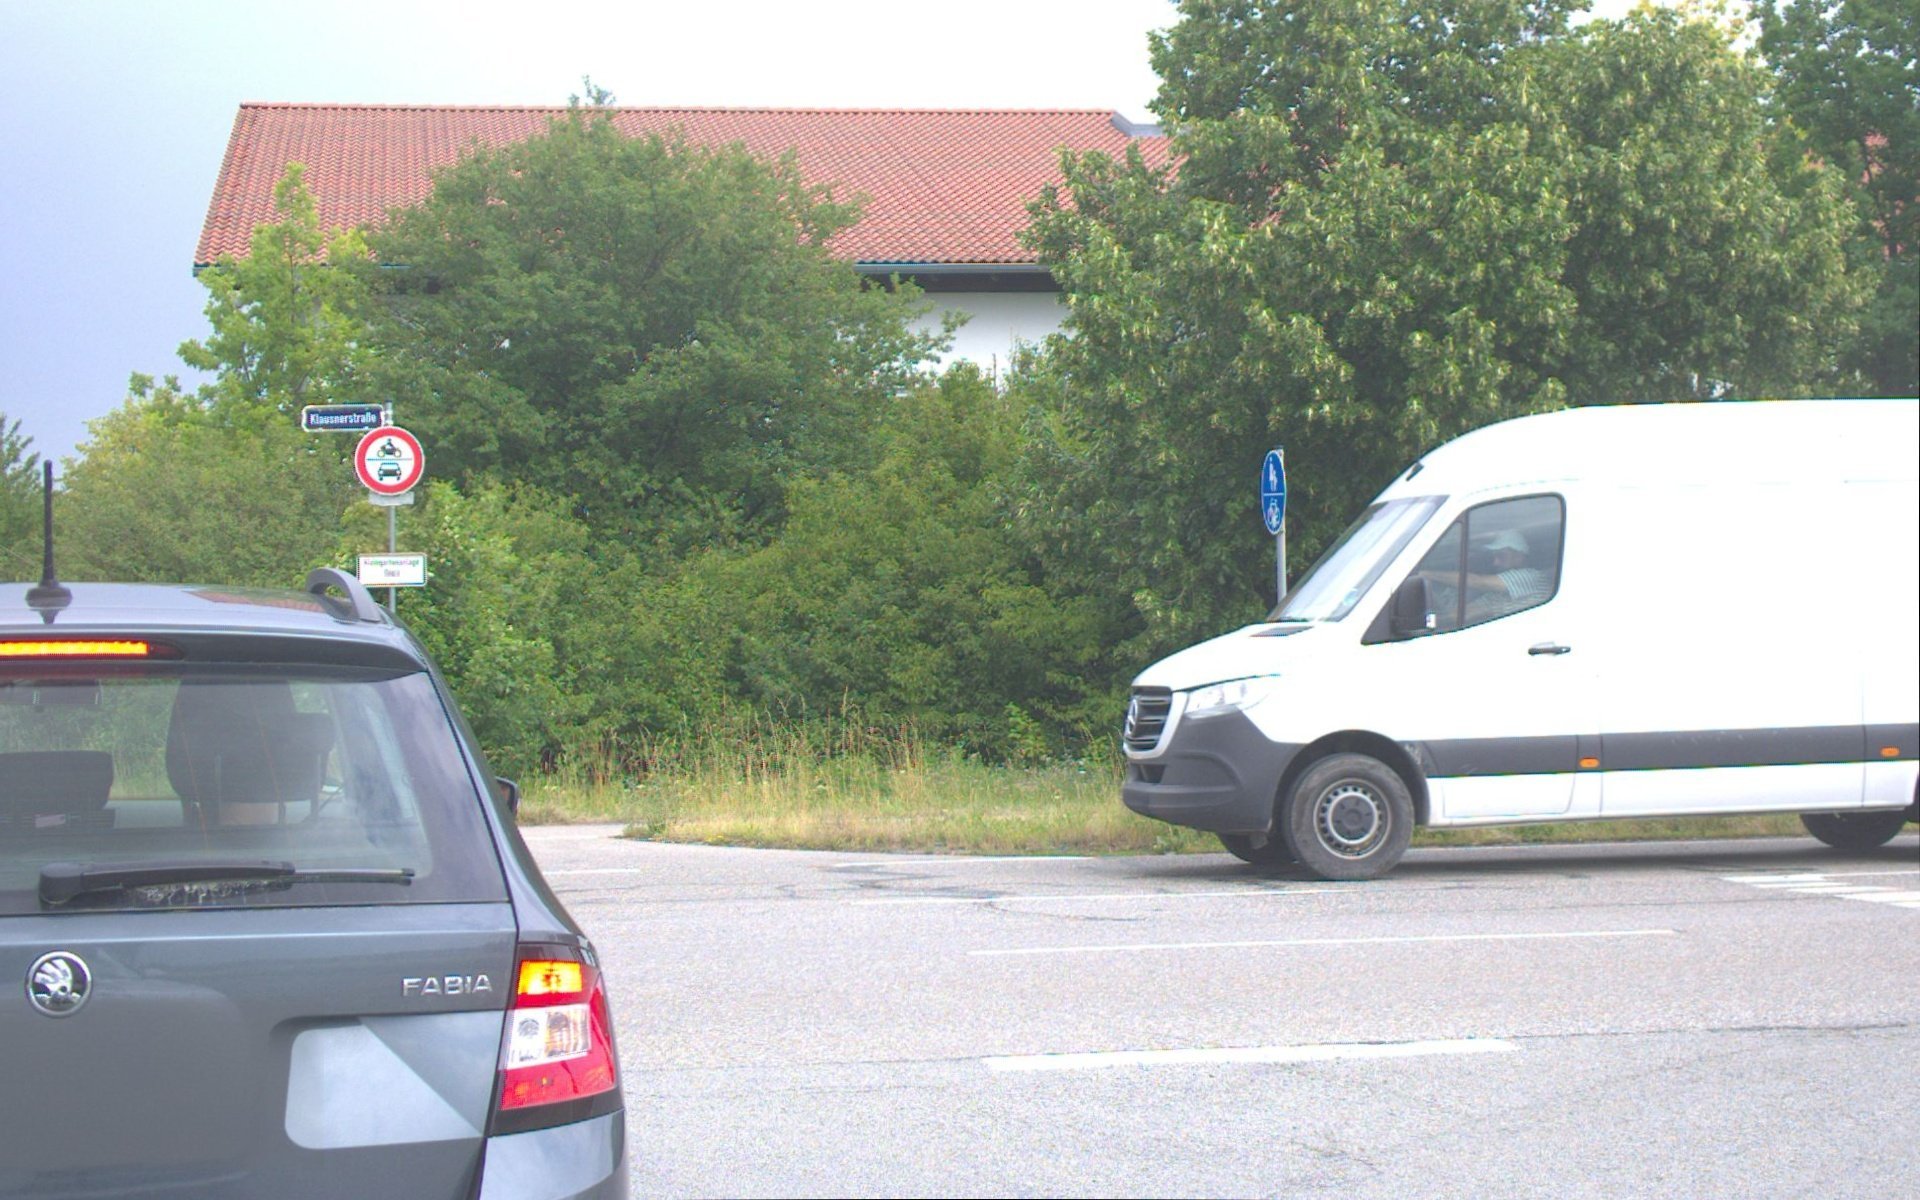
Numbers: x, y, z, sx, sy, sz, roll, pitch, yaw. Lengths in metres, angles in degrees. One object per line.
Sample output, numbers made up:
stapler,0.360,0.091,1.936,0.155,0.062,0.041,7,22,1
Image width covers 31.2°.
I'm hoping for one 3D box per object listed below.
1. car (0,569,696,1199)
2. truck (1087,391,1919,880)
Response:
car,-1.665,0.708,5.868,1.676,1.458,3.708,0,0,-17
truck,3.892,0.167,19.719,5.995,2.567,2.000,-1,-1,-9
